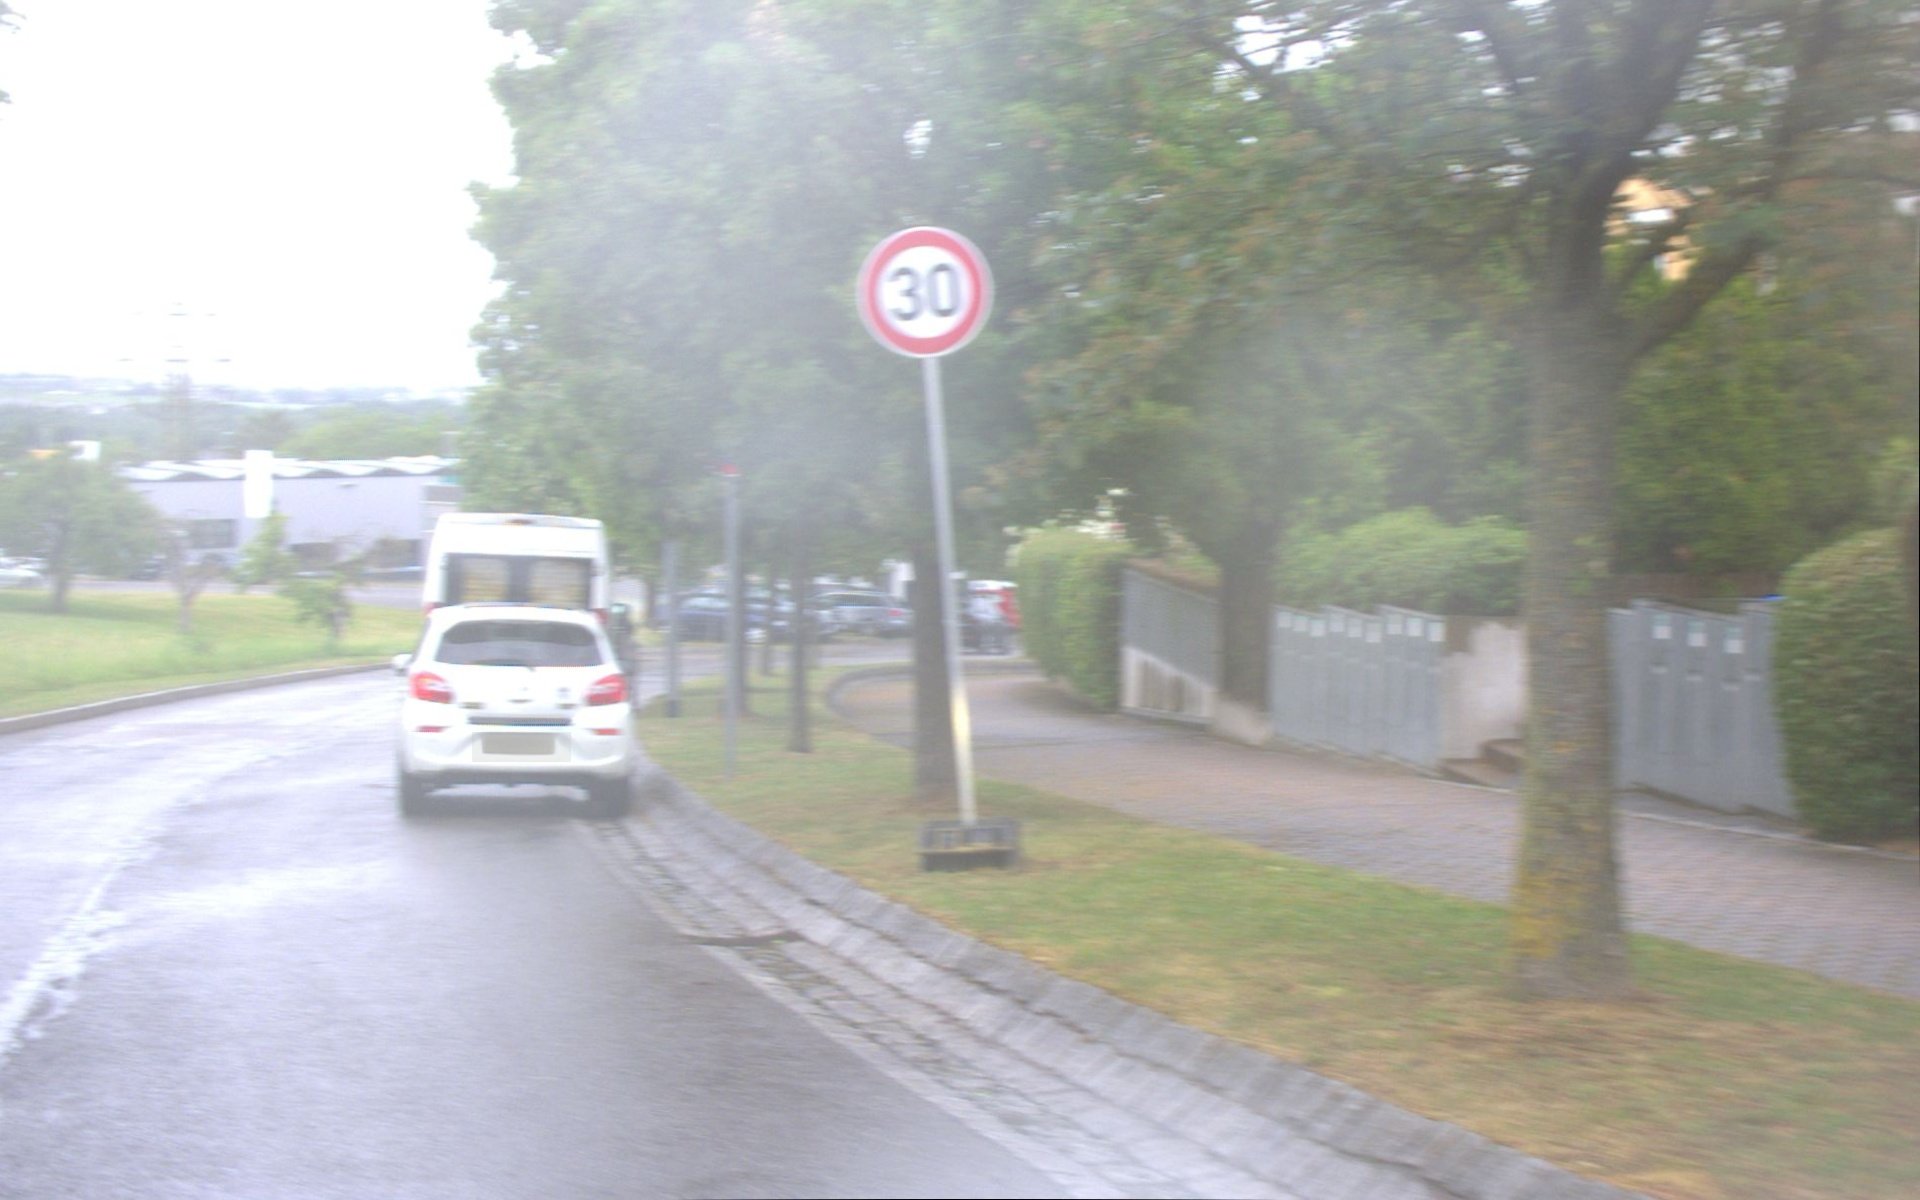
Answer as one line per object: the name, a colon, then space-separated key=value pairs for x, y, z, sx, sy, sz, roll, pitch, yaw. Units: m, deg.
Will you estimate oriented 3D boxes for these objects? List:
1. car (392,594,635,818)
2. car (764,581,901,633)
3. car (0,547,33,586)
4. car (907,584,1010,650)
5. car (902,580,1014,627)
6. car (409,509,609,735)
car: x=-3.366 y=0.730 z=25.450 sx=1.605 sy=1.497 sz=3.727 roll=1 pitch=0 yaw=-10
car: x=-3.910 y=0.206 z=105.712 sx=3.871 sy=1.542 sz=1.772 roll=1 pitch=0 yaw=10
car: x=-46.445 y=-1.656 z=163.255 sx=4.263 sy=1.696 sz=1.797 roll=2 pitch=2 yaw=-42
car: x=-0.010 y=0.417 z=90.047 sx=1.688 sy=1.546 sz=3.694 roll=2 pitch=2 yaw=16
car: x=-0.071 y=0.128 z=118.450 sx=3.563 sy=1.600 sz=1.692 roll=0 pitch=0 yaw=14
car: x=-5.270 y=0.236 z=40.787 sx=2.117 sy=2.459 sz=5.511 roll=1 pitch=0 yaw=-6
